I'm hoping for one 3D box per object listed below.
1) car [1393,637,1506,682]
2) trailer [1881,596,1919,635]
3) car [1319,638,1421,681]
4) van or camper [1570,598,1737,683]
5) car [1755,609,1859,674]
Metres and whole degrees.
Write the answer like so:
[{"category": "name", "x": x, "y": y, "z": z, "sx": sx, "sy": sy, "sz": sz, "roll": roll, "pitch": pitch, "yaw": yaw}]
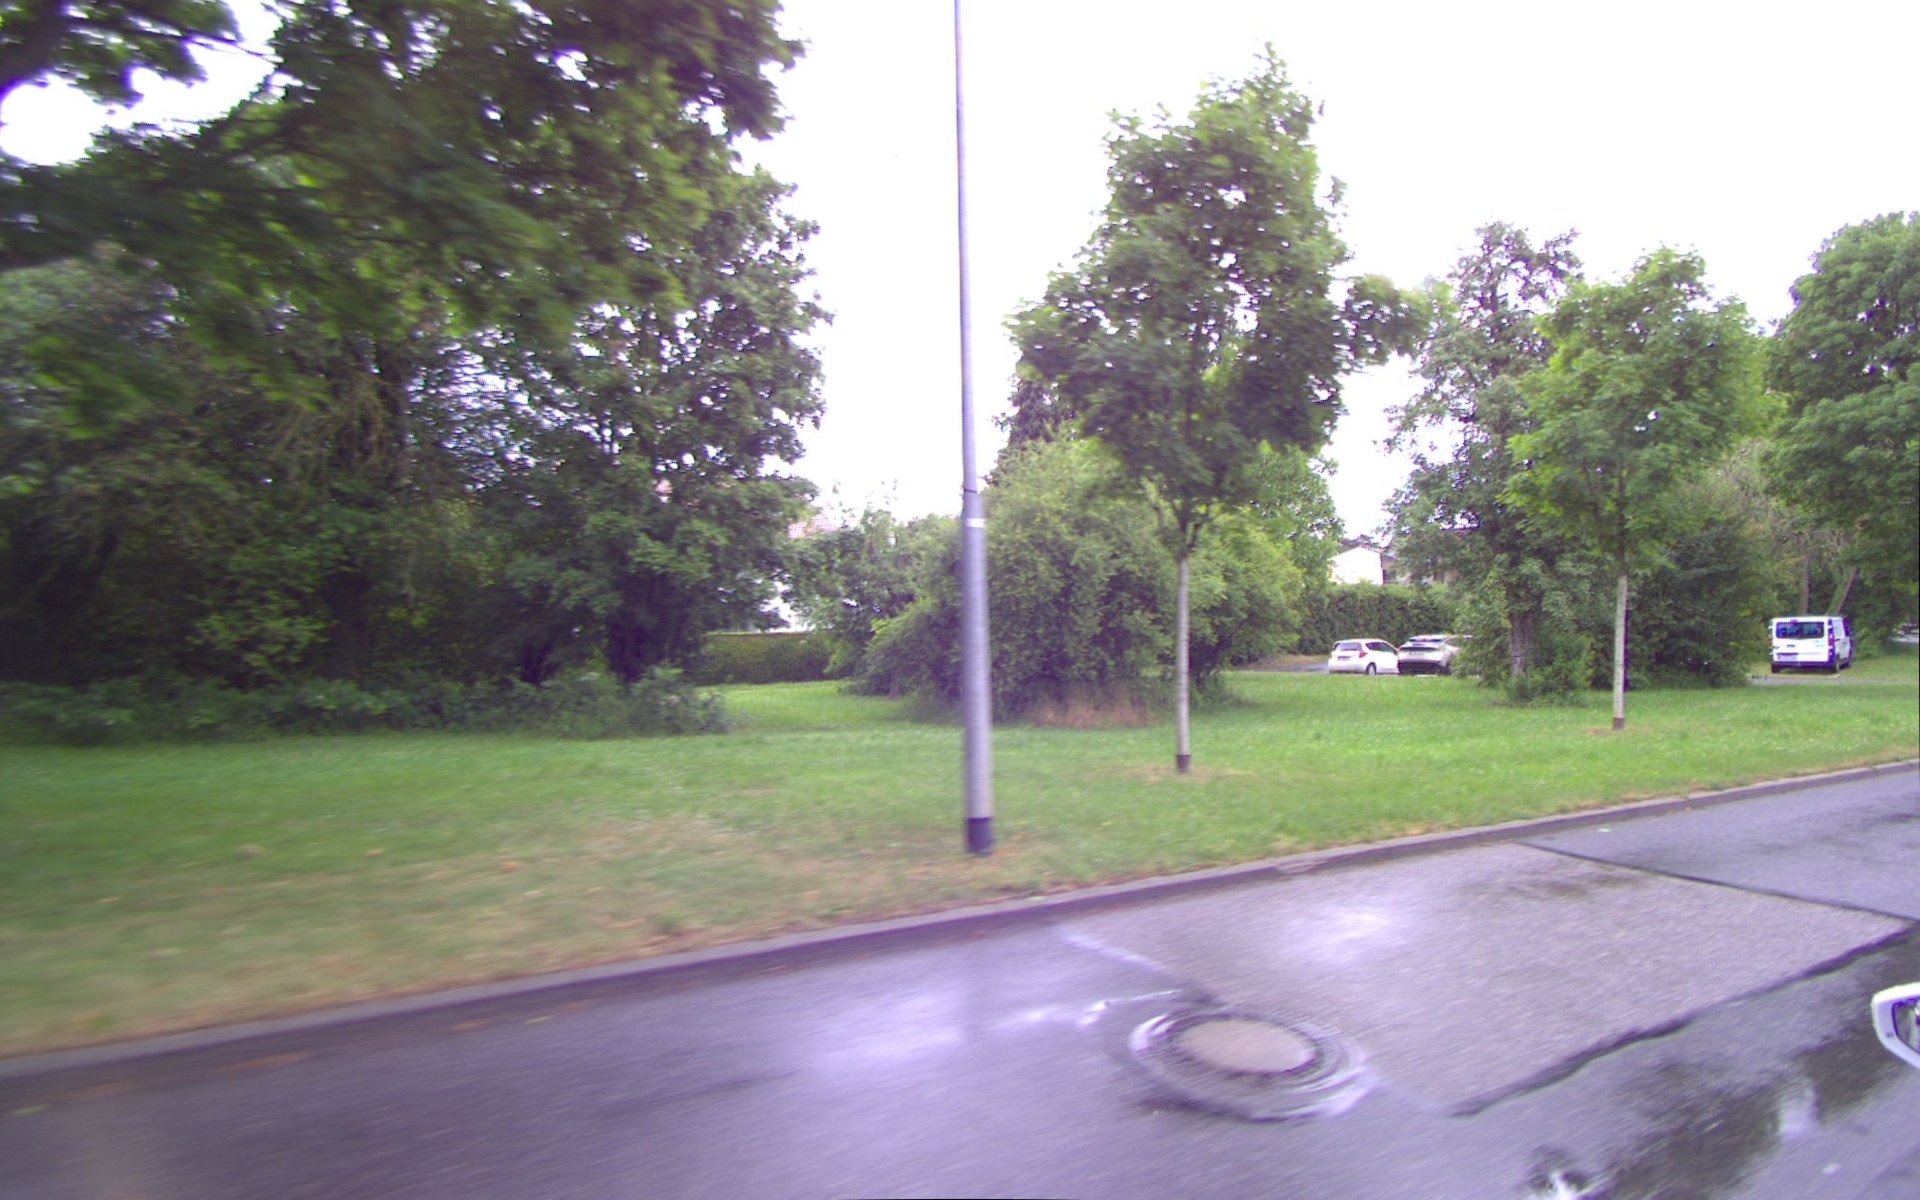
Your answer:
[{"category": "car", "x": 18.084, "y": 2.195, "z": 36.995, "sx": 4.960, "sy": 1.557, "sz": 1.777, "roll": 3, "pitch": -4, "yaw": -38}, {"category": "trailer", "x": 75.970, "y": 1.175, "z": 80.252, "sx": 1.966, "sy": 2.843, "sz": 5.598, "roll": -7, "pitch": -4, "yaw": 29}, {"category": "car", "x": 16.316, "y": 2.339, "z": 39.918, "sx": 4.312, "sy": 1.601, "sz": 1.840, "roll": 2, "pitch": -3, "yaw": -37}, {"category": "van or camper", "x": 21.659, "y": 1.266, "z": 31.237, "sx": 6.751, "sy": 2.391, "sz": 2.366, "roll": 1, "pitch": -3, "yaw": -38}, {"category": "car", "x": 31.335, "y": 1.496, "z": 37.086, "sx": 5.432, "sy": 2.012, "sz": 2.109, "roll": -3, "pitch": -2, "yaw": -42}]
